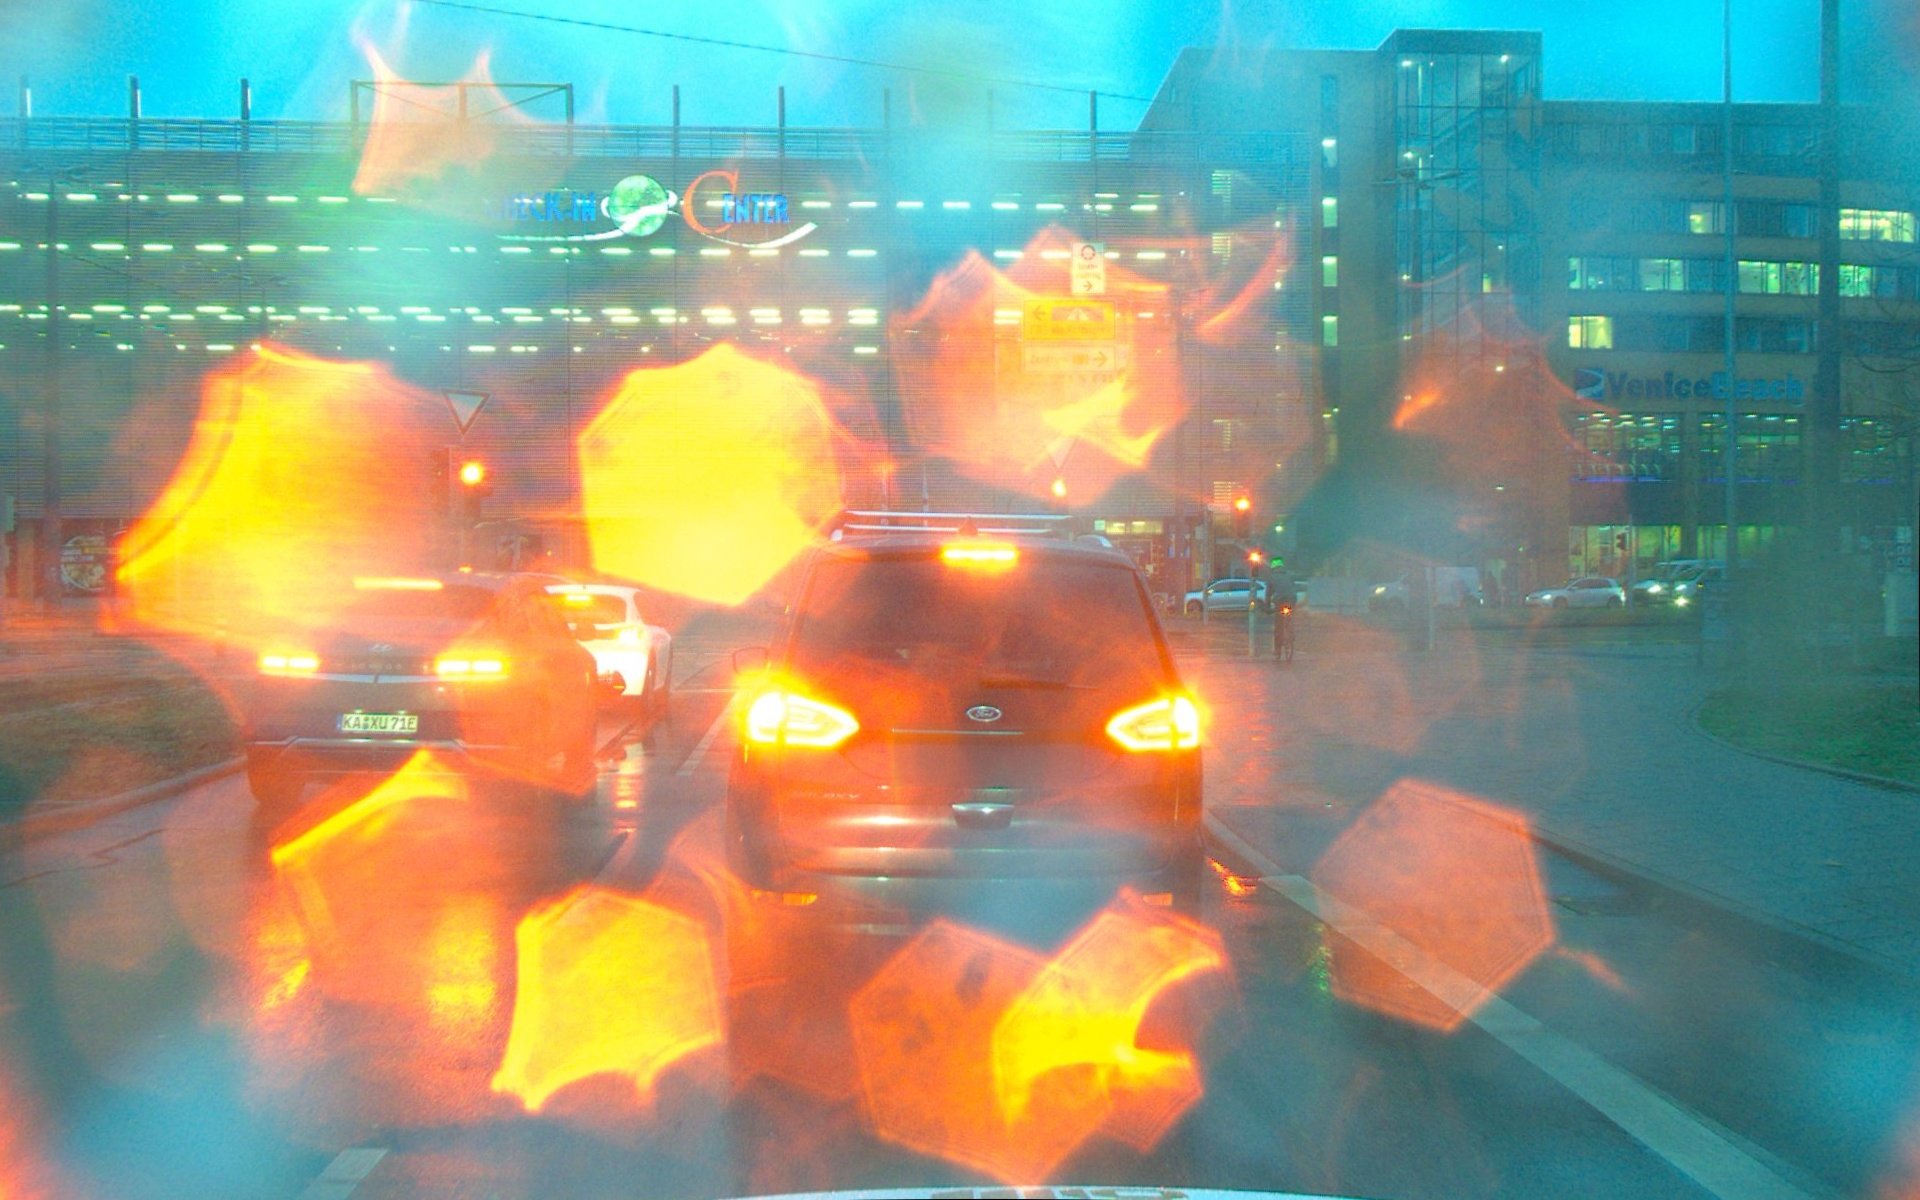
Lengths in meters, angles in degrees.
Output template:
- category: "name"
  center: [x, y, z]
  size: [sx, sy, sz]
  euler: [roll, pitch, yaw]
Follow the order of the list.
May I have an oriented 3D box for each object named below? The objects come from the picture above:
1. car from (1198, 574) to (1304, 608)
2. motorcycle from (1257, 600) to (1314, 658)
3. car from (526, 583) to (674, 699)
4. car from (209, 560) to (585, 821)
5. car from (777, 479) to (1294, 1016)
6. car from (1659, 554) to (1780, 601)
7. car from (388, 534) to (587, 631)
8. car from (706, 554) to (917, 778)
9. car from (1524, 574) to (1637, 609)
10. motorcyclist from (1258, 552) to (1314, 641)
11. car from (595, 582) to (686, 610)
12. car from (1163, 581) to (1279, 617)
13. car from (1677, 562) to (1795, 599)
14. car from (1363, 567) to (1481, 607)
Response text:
- category: "car"
  center: [12.459, -0.407, 70.907]
  size: [4.137, 1.414, 1.796]
  euler: [-1, 0, -8]
- category: "motorcycle"
  center: [5.838, 0.508, 29.723]
  size: [0.835, 0.989, 1.582]
  euler: [0, 0, 4]
- category: "car"
  center: [-4.332, 0.439, 20.352]
  size: [1.512, 1.273, 4.060]
  euler: [0, 0, -9]
- category: "car"
  center: [-3.943, 0.546, 12.276]
  size: [1.719, 1.601, 3.996]
  euler: [0, 0, -5]
- category: "car"
  center: [0.141, 0.485, 7.708]
  size: [1.700, 1.768, 4.244]
  euler: [2, 0, -3]
- category: "car"
  center: [34.346, -1.012, 74.846]
  size: [4.748, 2.035, 1.797]
  euler: [-1, 0, -8]
- category: "car"
  center: [-10.034, -0.397, 35.405]
  size: [3.918, 1.907, 1.994]
  euler: [-2, 1, -13]
- category: "car"
  center: [-1.320, 0.510, 14.665]
  size: [1.604, 1.726, 3.666]
  euler: [1, 0, -6]
- category: "car"
  center: [26.189, -0.377, 69.853]
  size: [4.137, 1.414, 1.796]
  euler: [-1, 0, -8]
- category: "motorcyclist"
  center: [5.837, -0.058, 29.657]
  size: [0.850, 1.561, 1.109]
  euler: [0, 0, 4]
- category: "car"
  center: [-13.684, -0.173, 70.959]
  size: [3.687, 1.186, 1.678]
  euler: [-1, 0, -7]
- category: "car"
  center: [10.649, -0.051, 67.586]
  size: [4.337, 1.414, 1.796]
  euler: [-1, 0, -8]
- category: "car"
  center: [33.444, -0.832, 71.334]
  size: [4.349, 1.561, 1.796]
  euler: [-1, 0, -8]
- category: "car"
  center: [19.052, -0.538, 68.297]
  size: [4.337, 1.623, 1.796]
  euler: [-1, 0, -8]
